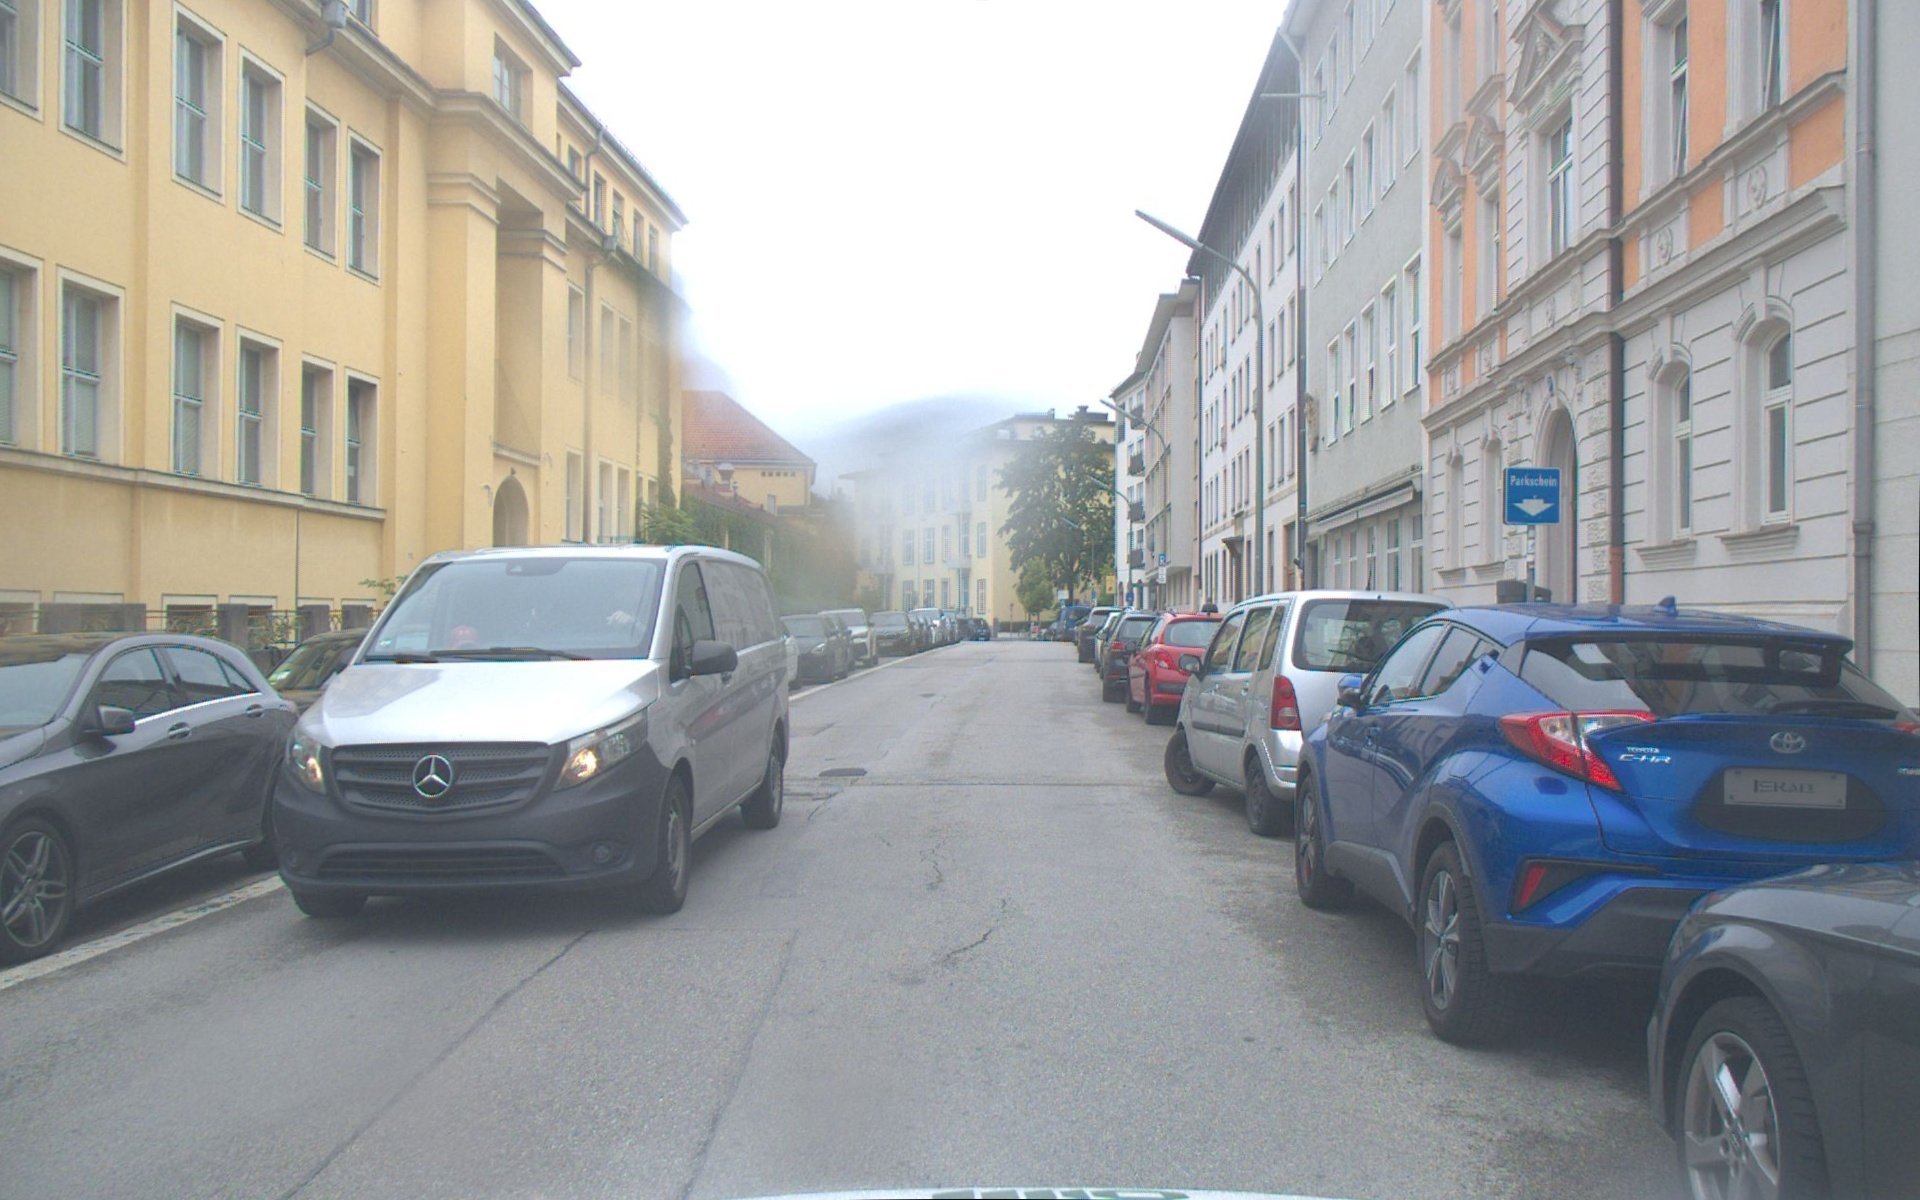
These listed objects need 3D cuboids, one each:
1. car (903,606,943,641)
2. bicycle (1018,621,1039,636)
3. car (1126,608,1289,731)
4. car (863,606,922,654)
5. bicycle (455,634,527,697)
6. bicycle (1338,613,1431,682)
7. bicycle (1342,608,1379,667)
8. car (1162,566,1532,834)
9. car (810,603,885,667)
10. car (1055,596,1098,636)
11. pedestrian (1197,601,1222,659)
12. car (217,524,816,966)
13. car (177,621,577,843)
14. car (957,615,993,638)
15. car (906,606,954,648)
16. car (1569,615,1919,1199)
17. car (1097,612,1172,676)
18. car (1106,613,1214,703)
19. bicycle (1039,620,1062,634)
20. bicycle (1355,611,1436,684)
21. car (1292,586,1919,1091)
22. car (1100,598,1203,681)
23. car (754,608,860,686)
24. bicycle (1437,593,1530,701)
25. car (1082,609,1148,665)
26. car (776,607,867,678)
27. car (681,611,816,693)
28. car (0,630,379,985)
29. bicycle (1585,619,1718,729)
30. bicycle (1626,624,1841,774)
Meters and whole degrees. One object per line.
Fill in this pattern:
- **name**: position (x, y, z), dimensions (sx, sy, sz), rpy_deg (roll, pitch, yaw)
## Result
- **car**: position (-1.680, 1.060, 75.663), dimensions (1.558, 1.466, 4.019), rpy_deg (-3, -1, 1)
- **bicycle**: position (5.988, 2.479, 144.297), dimensions (1.892, 1.222, 0.592), rpy_deg (-1, -1, 40)
- **car**: position (3.385, 0.905, 23.311), dimensions (1.652, 1.526, 4.147), rpy_deg (1, 0, 0)
- **car**: position (-2.426, 1.083, 60.488), dimensions (1.752, 1.614, 4.818), rpy_deg (-3, -1, 1)
- **bicycle**: position (-8.405, 1.159, 29.683), dimensions (0.526, 1.081, 1.641), rpy_deg (0, -1, 13)
- **bicycle**: position (7.061, 0.777, 27.494), dimensions (1.830, 1.086, 0.508), rpy_deg (-1, -1, -40)
- **bicycle**: position (8.367, 0.769, 34.591), dimensions (0.376, 1.178, 1.950), rpy_deg (-1, 0, 2)
- **car**: position (2.738, 0.662, 12.568), dimensions (1.648, 1.703, 3.800), rpy_deg (1, -1, -5)
- **car**: position (-3.126, 0.968, 46.876), dimensions (1.710, 1.662, 4.856), rpy_deg (-2, -1, 0)
- **car**: position (7.490, 1.076, 106.683), dimensions (2.038, 2.273, 5.240), rpy_deg (4, -3, -3)
- **pedestrian**: position (7.858, 0.953, 52.110), dimensions (0.707, 1.794, 0.905), rpy_deg (0, -4, 4)
- **car**: position (-2.174, 0.660, 9.863), dimensions (1.875, 1.881, 5.322), rpy_deg (-1, -1, 3)
- **car**: position (-4.551, 0.940, 13.655), dimensions (1.714, 1.429, 4.354), rpy_deg (-3, -1, 0)
- **car**: position (1.304, 2.285, 143.578), dimensions (1.736, 1.907, 4.355), rpy_deg (4, -2, -18)
- **car**: position (-1.433, 1.326, 81.111), dimensions (1.847, 1.922, 4.776), rpy_deg (-3, -1, 4)
- **car**: position (2.693, 0.808, 2.477), dimensions (1.672, 1.480, 4.398), rpy_deg (2, 0, -4)
- **car**: position (4.290, 1.060, 41.195), dimensions (1.637, 1.454, 4.532), rpy_deg (1, -1, 3)
- **car**: position (3.350, 0.942, 28.360), dimensions (1.652, 1.426, 4.366), rpy_deg (0, -1, 4)
- **bicycle**: position (7.847, 2.367, 143.002), dimensions (1.881, 1.222, 0.595), rpy_deg (0, -1, 17)
- **bicycle**: position (7.092, 0.755, 26.895), dimensions (0.610, 1.108, 1.806), rpy_deg (-2, 0, 37)
- **car**: position (2.664, 0.732, 7.273), dimensions (1.706, 1.520, 4.549), rpy_deg (0, 0, 3)
- **car**: position (3.982, 0.787, 35.008), dimensions (1.671, 1.620, 4.361), rpy_deg (1, 0, 0)
- **car**: position (-3.328, 1.007, 36.793), dimensions (1.664, 1.523, 4.150), rpy_deg (-4, -1, 3)
- **bicycle**: position (7.170, 0.616, 22.747), dimensions (0.583, 1.409, 2.092), rpy_deg (-1, 0, 0)
- **car**: position (4.492, 1.062, 48.439), dimensions (1.801, 1.549, 4.711), rpy_deg (1, -1, 4)
- **car**: position (-3.442, 1.049, 41.916), dimensions (1.669, 1.528, 4.495), rpy_deg (-6, -1, 1)
- **car**: position (-3.952, 0.952, 31.584), dimensions (1.747, 1.457, 4.653), rpy_deg (0, -1, 3)
- **car**: position (-4.898, 0.934, 8.625), dimensions (1.973, 1.443, 4.616), rpy_deg (-3, -1, 1)
- **bicycle**: position (7.091, 0.732, 17.055), dimensions (0.583, 1.042, 1.817), rpy_deg (-1, 0, 0)
- **bicycle**: position (6.374, 0.778, 13.761), dimensions (0.708, 1.132, 1.993), rpy_deg (0, 0, -5)
